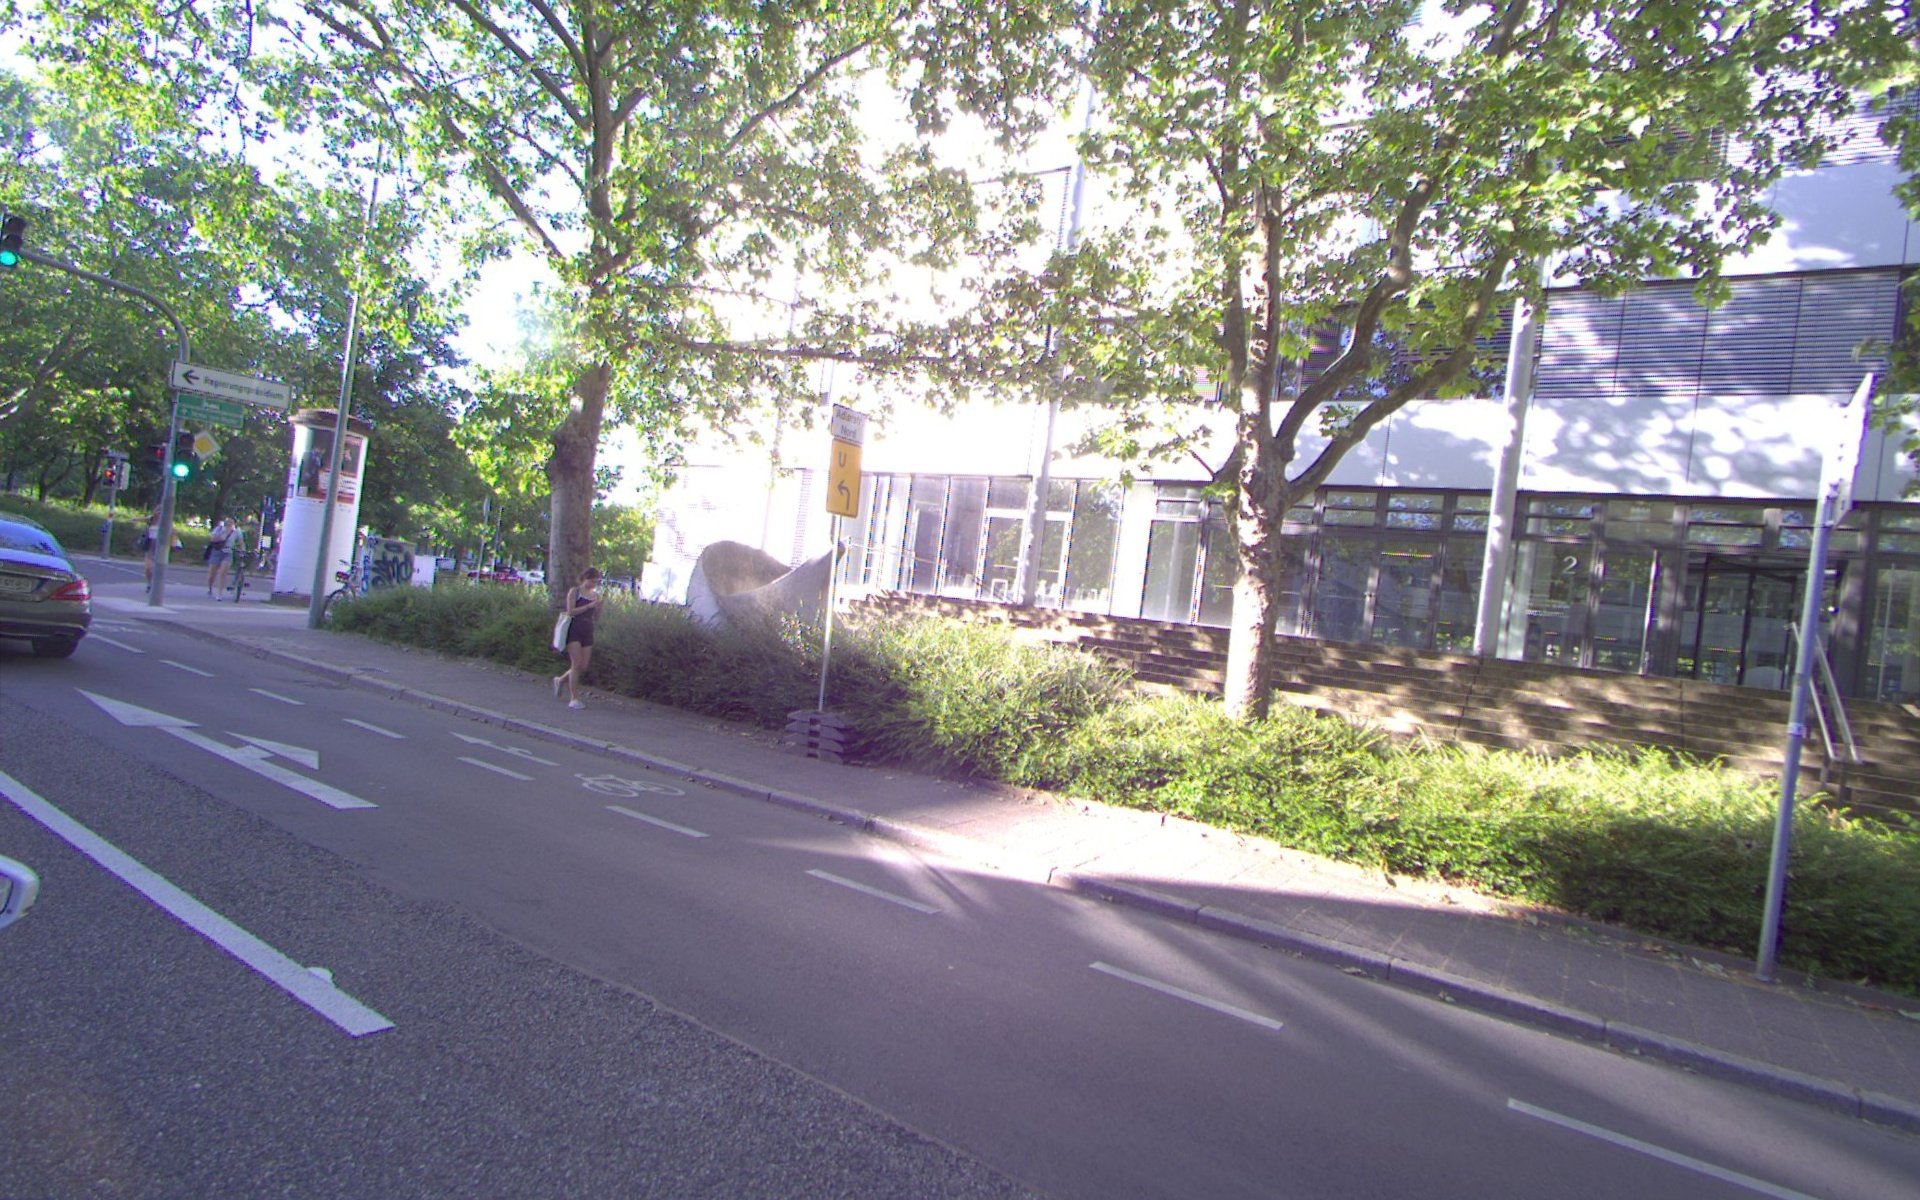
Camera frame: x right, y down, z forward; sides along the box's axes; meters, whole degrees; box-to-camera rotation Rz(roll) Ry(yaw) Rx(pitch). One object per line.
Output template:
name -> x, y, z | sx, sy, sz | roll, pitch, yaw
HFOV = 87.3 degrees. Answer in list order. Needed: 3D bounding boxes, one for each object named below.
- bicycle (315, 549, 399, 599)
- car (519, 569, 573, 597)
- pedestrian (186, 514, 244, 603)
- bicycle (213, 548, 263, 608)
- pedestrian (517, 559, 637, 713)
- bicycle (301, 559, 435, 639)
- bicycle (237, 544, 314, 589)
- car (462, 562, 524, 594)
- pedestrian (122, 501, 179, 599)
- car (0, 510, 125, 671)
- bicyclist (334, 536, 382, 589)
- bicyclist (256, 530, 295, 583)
bicycle -> -20.470, -0.871, 34.203 | 0.649, 1.341, 2.292 | 6, -2, 34
car -> -29.974, -1.224, 72.789 | 3.733, 1.485, 1.575 | 6, -2, 32
pedestrian -> -15.356, -0.854, 20.723 | 0.681, 1.717, 0.959 | 8, -2, -43
bicycle -> -15.003, -0.475, 20.890 | 0.523, 1.112, 1.721 | 9, -2, -42
pedestrian -> -4.456, 0.416, 11.712 | 0.893, 1.651, 0.798 | 7, 2, 34
bicycle -> -10.721, 0.017, 18.297 | 0.519, 1.203, 1.980 | 7, -2, 31
bicycle -> -23.764, -1.144, 34.962 | 0.589, 1.234, 2.035 | 7, -2, 32
car -> -29.533, -1.398, 63.589 | 3.733, 1.499, 1.633 | 6, -2, 32
pedestrian -> -16.124, -0.983, 20.034 | 0.729, 1.830, 0.899 | 6, -1, -40
car -> -10.720, -0.307, 10.460 | 4.445, 1.445, 1.846 | 6, -2, 34
bicyclist -> -20.441, -1.264, 34.170 | 0.856, 1.634, 0.965 | 6, -2, 35
bicyclist -> -23.756, -1.513, 34.911 | 0.664, 1.717, 0.711 | 7, -1, 33
